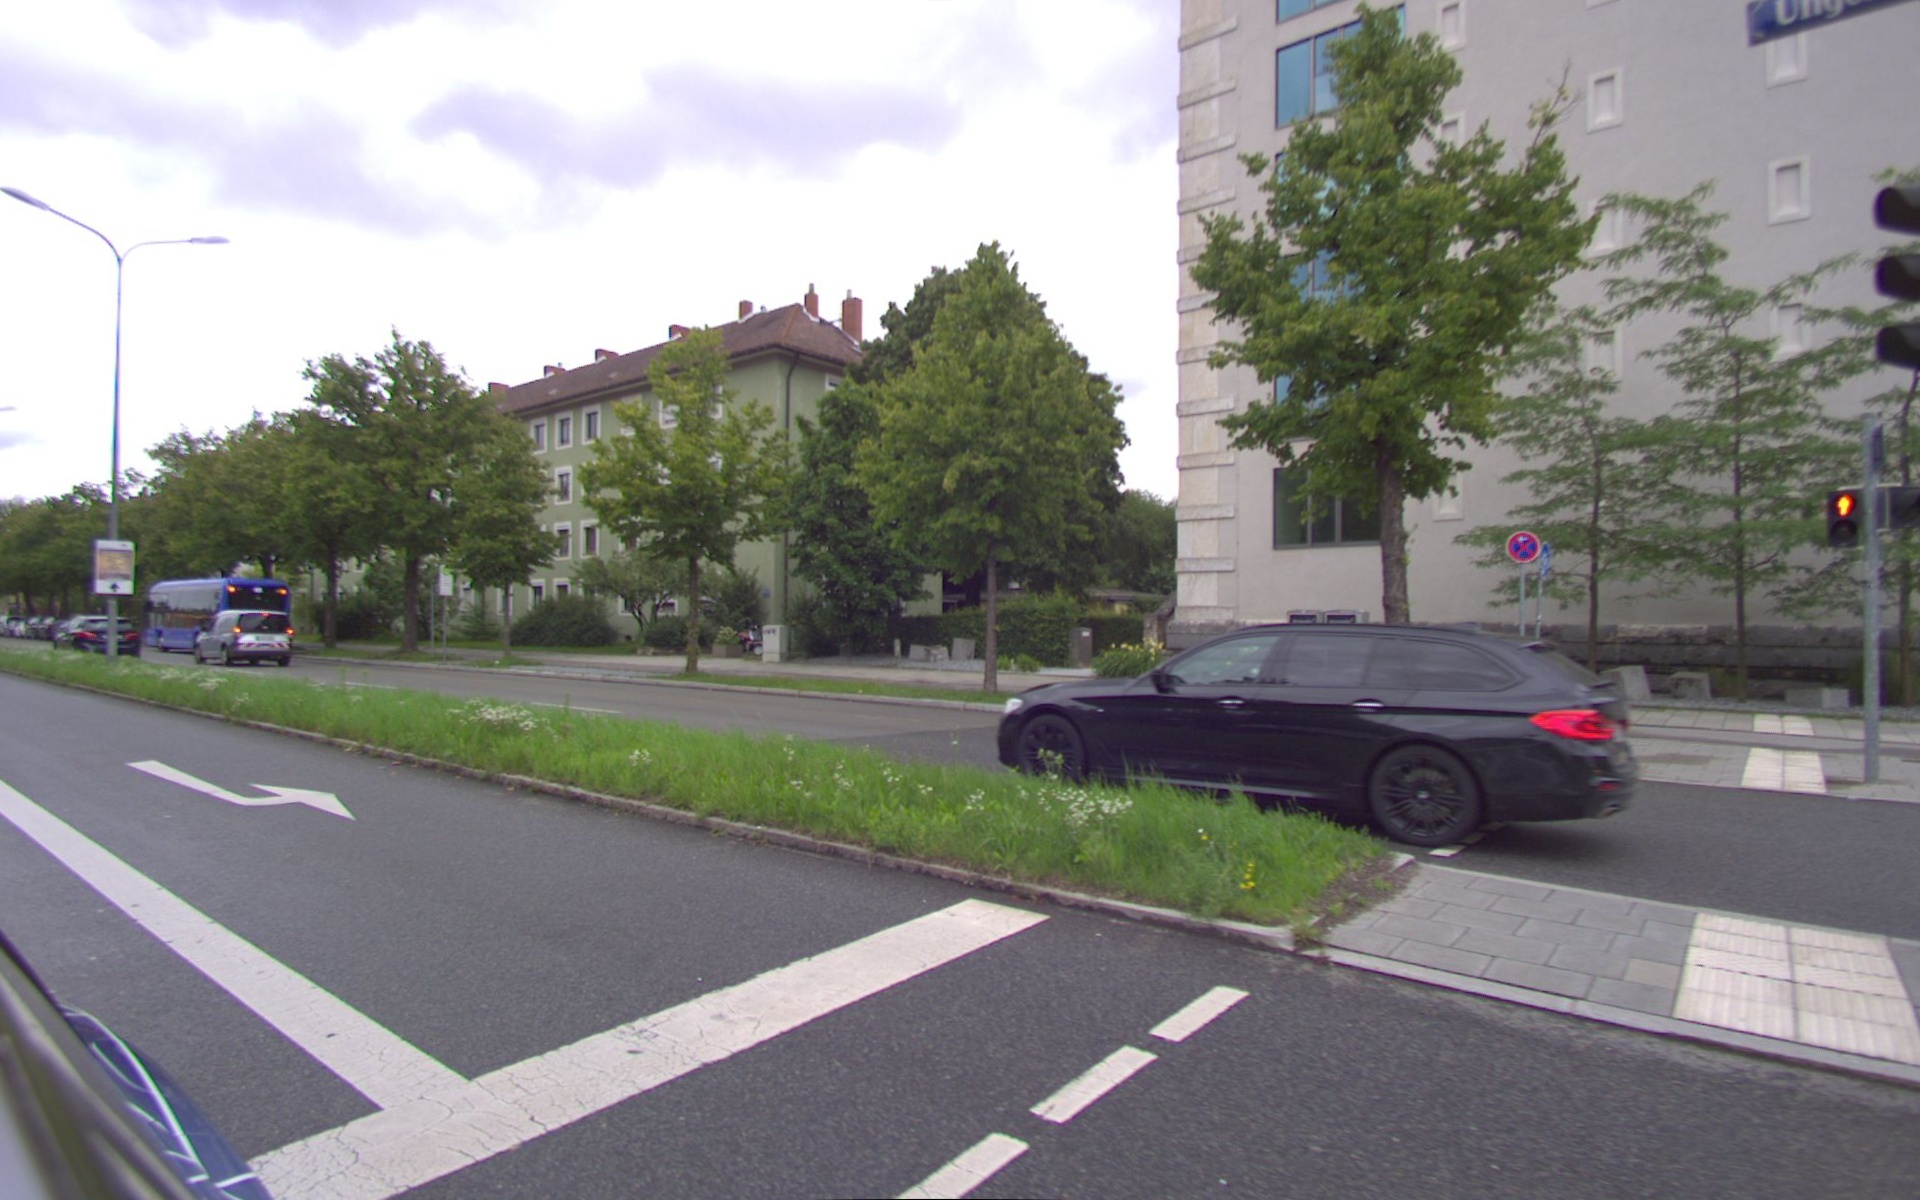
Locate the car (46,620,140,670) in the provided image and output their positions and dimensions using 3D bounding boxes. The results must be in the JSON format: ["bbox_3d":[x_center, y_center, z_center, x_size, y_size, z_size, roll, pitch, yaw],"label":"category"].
[{"bbox_3d":[-29.590,1.488,34.497,4.286,1.582,1.681,-1,-2,39],"label":"car"}]

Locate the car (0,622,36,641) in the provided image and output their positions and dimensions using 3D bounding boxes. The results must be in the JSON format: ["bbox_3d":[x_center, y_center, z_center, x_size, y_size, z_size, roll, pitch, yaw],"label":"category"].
[{"bbox_3d":[-76.347,2.543,81.973,3.908,1.473,1.833,-1,-1,41],"label":"car"}]

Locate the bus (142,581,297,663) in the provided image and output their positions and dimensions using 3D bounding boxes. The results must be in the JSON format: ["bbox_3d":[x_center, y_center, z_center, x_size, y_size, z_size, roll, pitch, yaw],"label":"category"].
[{"bbox_3d":[-33.995,1.027,46.173,12.038,3.369,2.718,-1,-3,40],"label":"bus"}]

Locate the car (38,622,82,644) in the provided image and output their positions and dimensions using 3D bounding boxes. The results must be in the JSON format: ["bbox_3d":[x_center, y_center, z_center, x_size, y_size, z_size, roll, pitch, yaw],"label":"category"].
[{"bbox_3d":[-63.286,2.306,71.123,3.908,1.473,1.833,-1,-1,41],"label":"car"}]

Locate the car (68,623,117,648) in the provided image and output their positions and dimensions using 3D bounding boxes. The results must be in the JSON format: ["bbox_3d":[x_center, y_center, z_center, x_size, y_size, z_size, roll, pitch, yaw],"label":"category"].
[{"bbox_3d":[-54.991,2.248,64.127,3.908,1.473,1.833,-1,-1,41],"label":"car"}]

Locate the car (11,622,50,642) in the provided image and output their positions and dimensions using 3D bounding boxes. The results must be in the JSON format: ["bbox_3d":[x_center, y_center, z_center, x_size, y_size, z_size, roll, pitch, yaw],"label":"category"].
[{"bbox_3d":[-71.922,2.463,78.302,3.908,1.473,1.833,-1,-1,41],"label":"car"}]

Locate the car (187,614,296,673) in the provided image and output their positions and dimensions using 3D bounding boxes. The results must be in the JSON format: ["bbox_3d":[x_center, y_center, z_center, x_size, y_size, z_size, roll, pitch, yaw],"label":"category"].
[{"bbox_3d":[-23.999,1.432,33.757,4.425,1.825,1.762,-1,-4,39],"label":"car"}]

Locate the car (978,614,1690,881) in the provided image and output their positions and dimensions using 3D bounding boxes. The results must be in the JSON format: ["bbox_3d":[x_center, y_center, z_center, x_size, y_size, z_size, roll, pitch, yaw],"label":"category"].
[{"bbox_3d":[2.647,0.896,7.947,4.894,1.473,1.907,-1,-4,40],"label":"car"}]

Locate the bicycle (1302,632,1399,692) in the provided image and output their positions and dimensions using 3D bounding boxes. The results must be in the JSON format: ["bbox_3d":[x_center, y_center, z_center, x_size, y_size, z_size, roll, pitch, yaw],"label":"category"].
[{"bbox_3d":[8.194,1.284,21.295,1.825,1.190,0.539,-1,-2,40],"label":"bicycle"}]

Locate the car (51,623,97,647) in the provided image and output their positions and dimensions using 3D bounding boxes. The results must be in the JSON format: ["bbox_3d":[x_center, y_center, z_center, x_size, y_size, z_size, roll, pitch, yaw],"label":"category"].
[{"bbox_3d":[-59.429,2.329,67.872,3.908,1.473,1.833,-1,-1,41],"label":"car"}]

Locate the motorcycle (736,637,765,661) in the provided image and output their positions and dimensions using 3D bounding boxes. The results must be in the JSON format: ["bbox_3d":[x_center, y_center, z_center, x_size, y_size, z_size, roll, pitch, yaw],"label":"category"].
[{"bbox_3d":[-8.088,1.883,39.048,1.233,0.889,0.429,-1,-2,40],"label":"motorcycle"}]

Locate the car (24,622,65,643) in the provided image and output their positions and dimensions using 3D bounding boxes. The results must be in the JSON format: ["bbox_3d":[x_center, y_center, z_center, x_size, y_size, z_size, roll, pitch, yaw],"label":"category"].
[{"bbox_3d":[-67.937,2.391,75.077,3.908,1.473,1.833,-1,-1,41],"label":"car"}]
